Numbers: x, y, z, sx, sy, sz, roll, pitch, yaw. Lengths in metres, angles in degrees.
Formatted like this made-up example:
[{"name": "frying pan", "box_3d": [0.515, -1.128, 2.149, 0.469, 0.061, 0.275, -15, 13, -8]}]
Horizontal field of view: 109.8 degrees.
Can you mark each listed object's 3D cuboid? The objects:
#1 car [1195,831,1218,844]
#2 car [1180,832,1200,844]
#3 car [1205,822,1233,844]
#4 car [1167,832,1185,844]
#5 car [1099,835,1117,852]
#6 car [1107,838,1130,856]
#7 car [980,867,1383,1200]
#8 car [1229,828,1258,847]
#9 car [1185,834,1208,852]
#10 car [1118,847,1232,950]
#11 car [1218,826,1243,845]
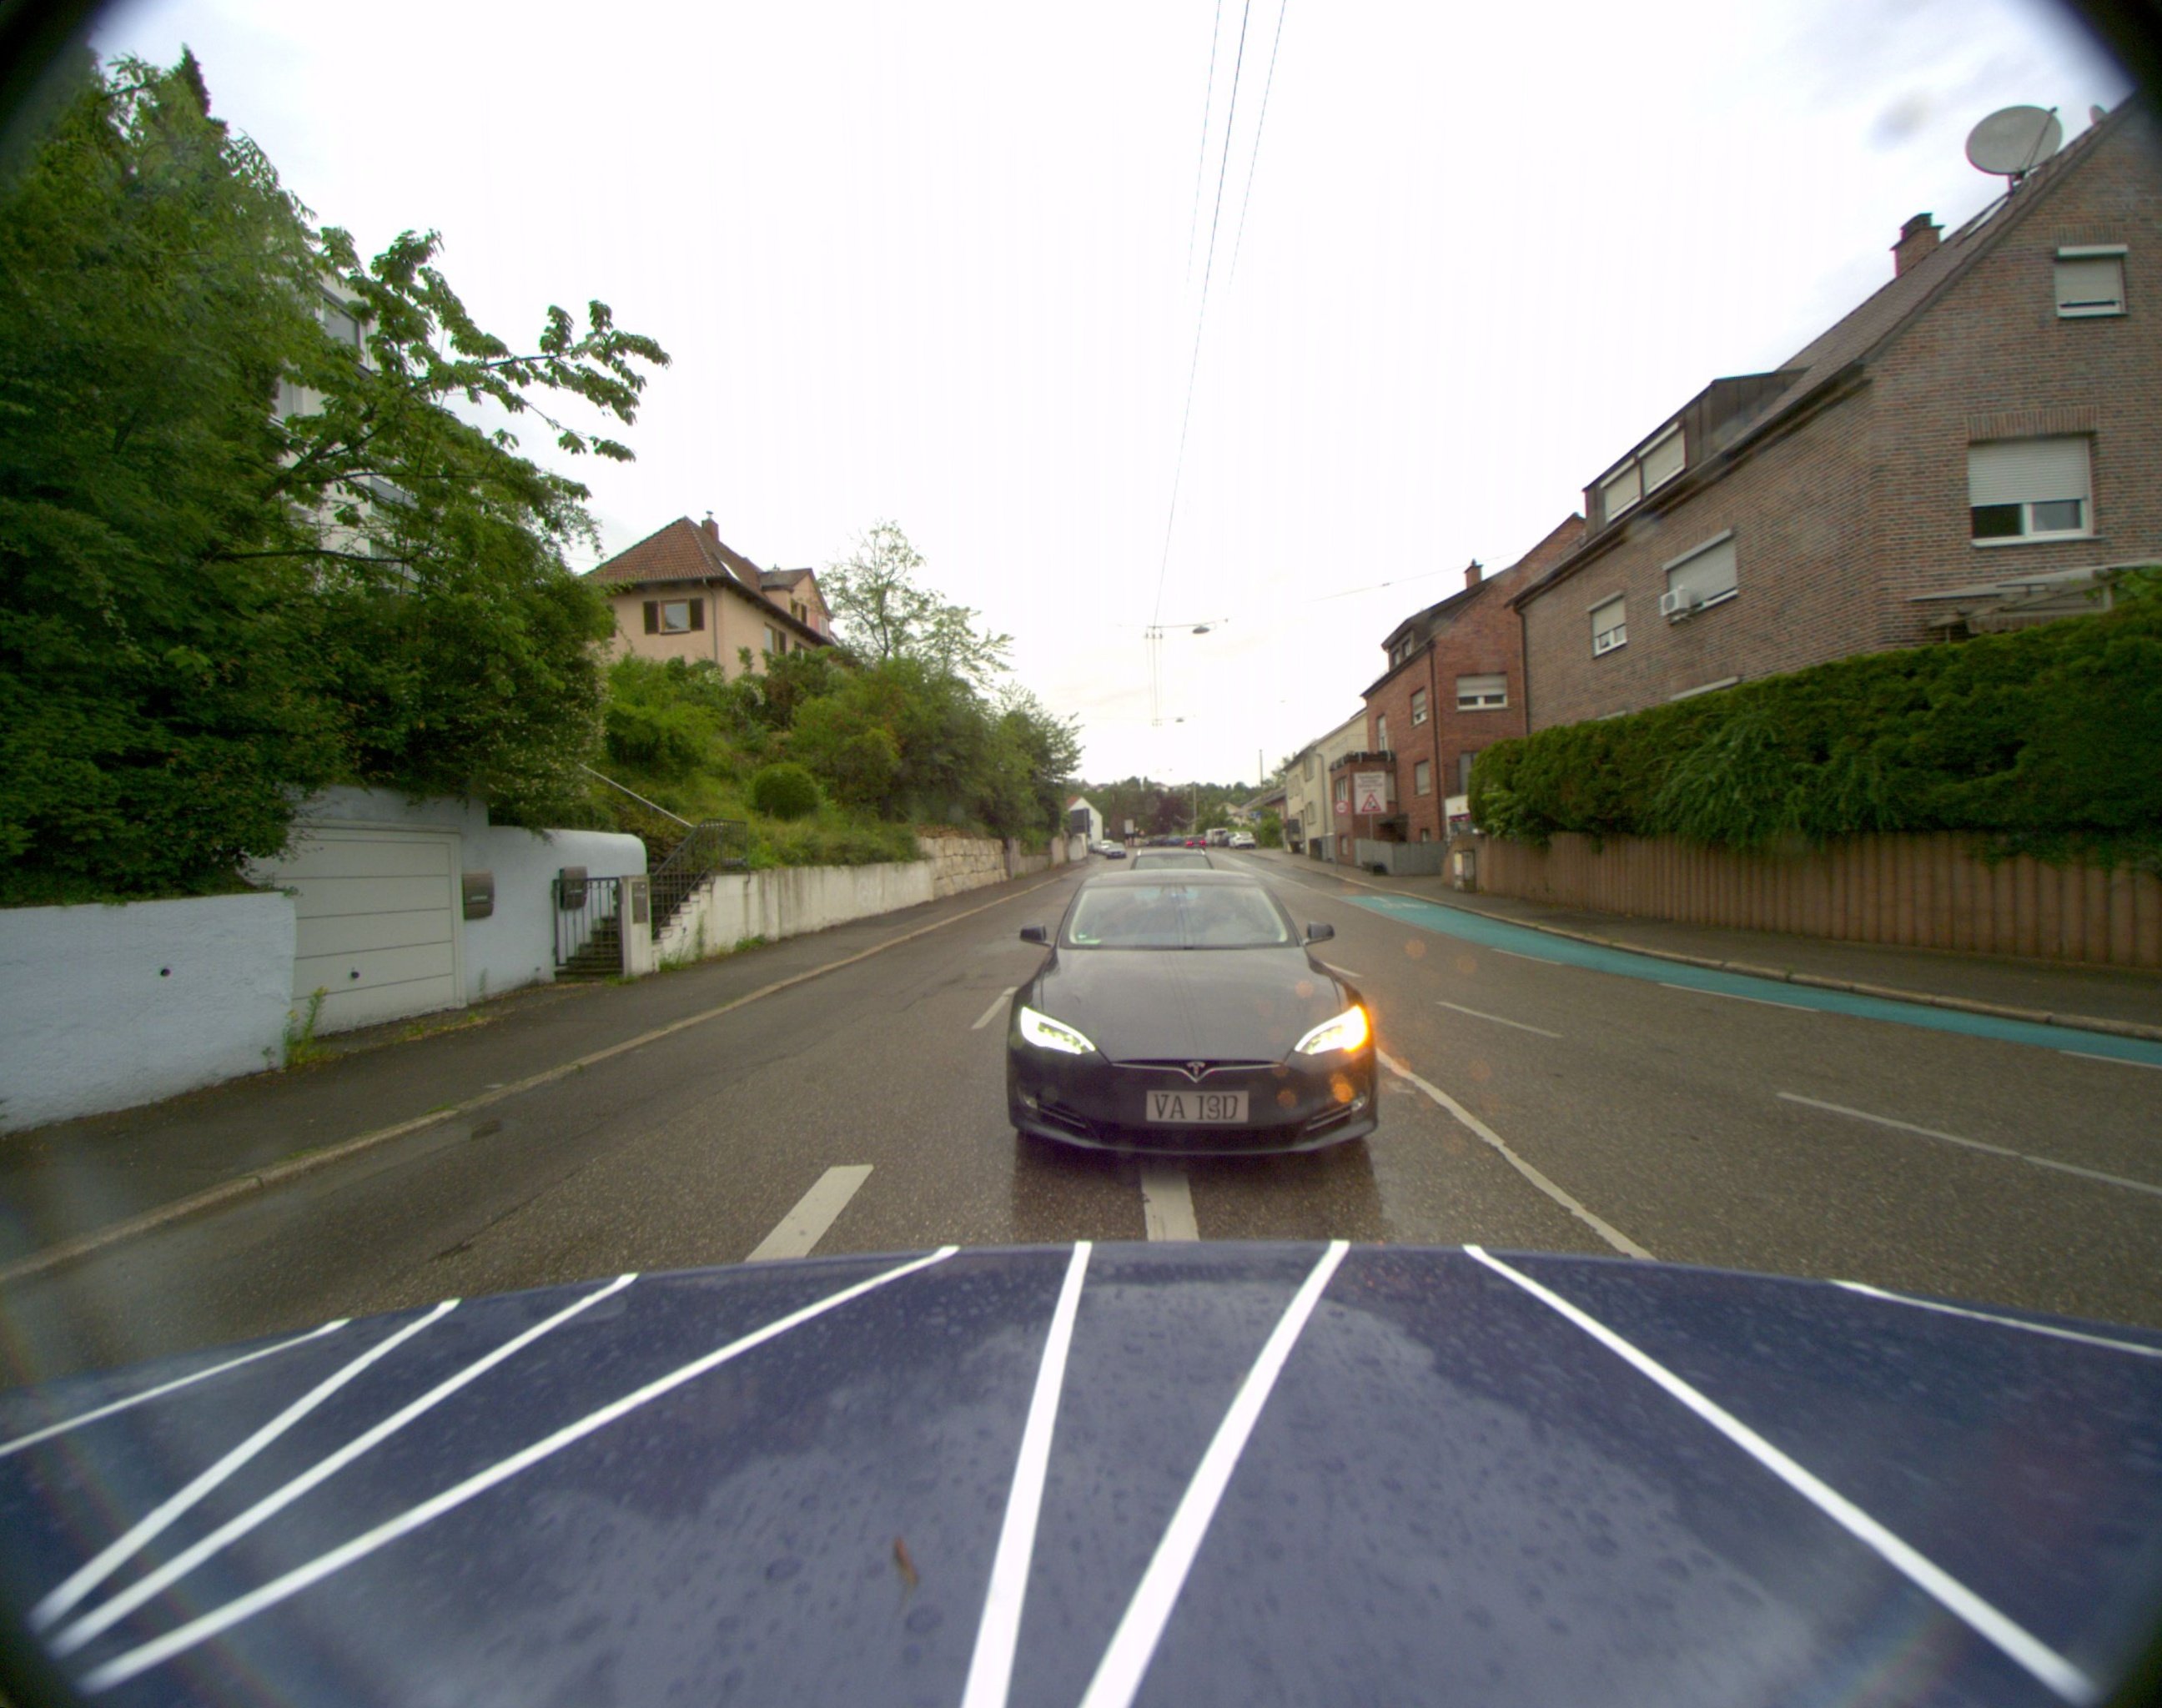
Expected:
[{"name": "car", "box_3d": [15.025, -1.946, 91.270, 1.654, 1.482, 4.009, -4, 1, -6]}, {"name": "car", "box_3d": [13.997, -2.071, 97.892, 1.654, 1.388, 3.859, -4, 1, -4]}, {"name": "car", "box_3d": [15.603, -2.333, 86.131, 2.257, 2.273, 4.546, -4, 1, 0]}, {"name": "car", "box_3d": [12.783, -2.090, 102.609, 1.624, 1.482, 3.901, -4, 1, -4]}, {"name": "car", "box_3d": [3.175, -1.261, 89.140, 1.820, 1.855, 4.038, -2, 2, -1]}, {"name": "car", "box_3d": [3.635, -0.619, 73.108, 2.002, 1.596, 4.360, -2, -1, 4]}, {"name": "car", "box_3d": [0.619, 0.910, 5.619, 1.870, 1.407, 4.000, -2, 1, 4]}, {"name": "car", "box_3d": [15.348, -1.553, 71.953, 1.946, 1.557, 4.263, -4, 1, 2]}, {"name": "car", "box_3d": [10.954, -1.041, 72.102, 1.853, 1.671, 4.172, 0, 2, 4]}, {"name": "car", "box_3d": [1.664, 0.709, 14.186, 1.789, 1.580, 3.784, -2, 1, 4]}, {"name": "car", "box_3d": [15.715, -1.904, 80.101, 1.814, 1.793, 4.263, -4, 1, 2]}]
